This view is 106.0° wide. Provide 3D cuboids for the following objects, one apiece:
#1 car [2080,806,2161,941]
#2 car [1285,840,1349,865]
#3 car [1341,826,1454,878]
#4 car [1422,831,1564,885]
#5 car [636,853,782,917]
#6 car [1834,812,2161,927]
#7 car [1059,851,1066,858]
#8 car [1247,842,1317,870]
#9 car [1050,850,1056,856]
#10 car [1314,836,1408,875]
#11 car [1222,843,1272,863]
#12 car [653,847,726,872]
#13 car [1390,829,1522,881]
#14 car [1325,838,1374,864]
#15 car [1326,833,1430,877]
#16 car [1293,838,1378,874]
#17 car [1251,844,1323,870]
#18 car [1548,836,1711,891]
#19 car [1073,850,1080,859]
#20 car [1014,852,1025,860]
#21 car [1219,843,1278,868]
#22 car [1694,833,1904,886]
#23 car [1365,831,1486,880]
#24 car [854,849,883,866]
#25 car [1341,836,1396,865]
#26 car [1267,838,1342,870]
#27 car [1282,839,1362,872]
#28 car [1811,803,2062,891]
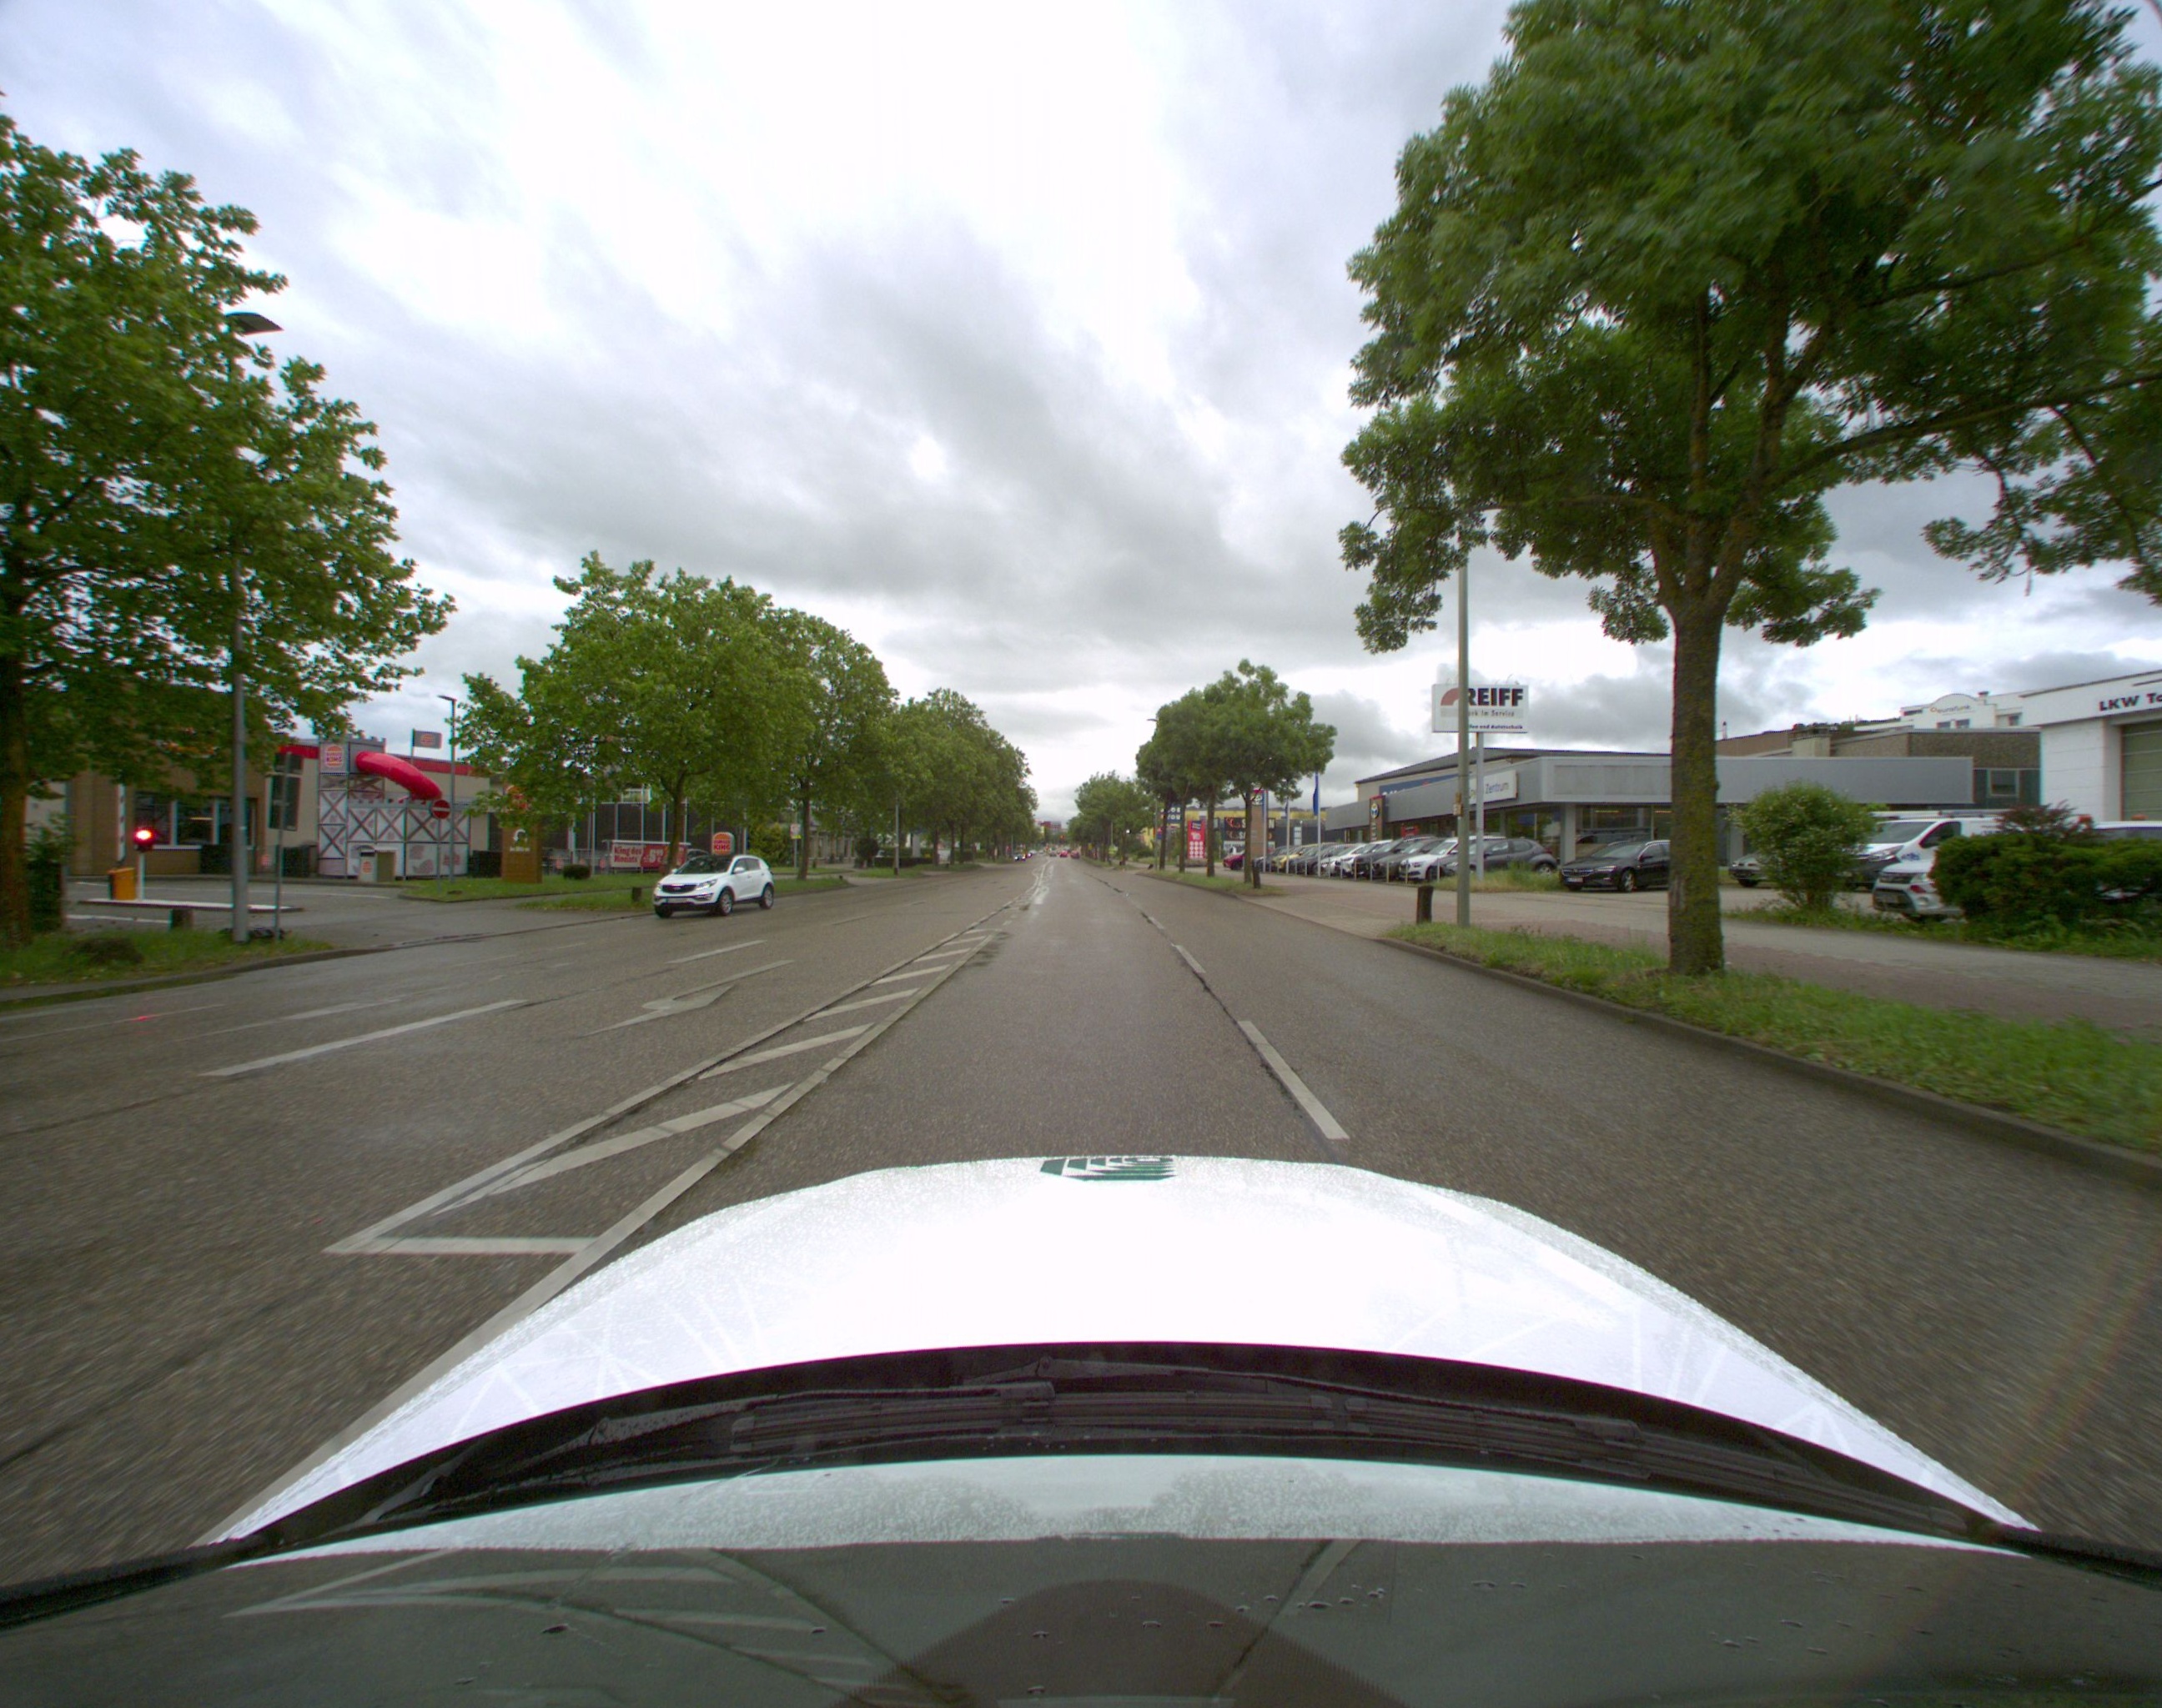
[{"bbox_3d":[15.423,0.191,9.683,4.105,1.662,1.832,-1,2,23],"label":"car"},{"bbox_3d":[16.907,-0.133,58.549,4.092,1.621,1.882,-2,0,3],"label":"car"},{"bbox_3d":[13.391,-0.085,34.637,3.973,1.786,1.812,-5,0,1],"label":"car"},{"bbox_3d":[13.858,0.133,27.550,3.822,1.461,1.827,-5,0,-2],"label":"car"},{"bbox_3d":[-10.308,0.804,22.975,1.920,1.619,4.401,-1,0,2],"label":"car"},{"bbox_3d":[14.564,0.225,12.439,4.021,1.597,1.995,-1,0,20],"label":"car"},{"bbox_3d":[-5.213,0.047,228.446,1.739,2.013,4.000,-1,0,0],"label":"car"},{"bbox_3d":[12.802,0.099,52.062,3.975,1.647,1.844,-1,0,-1],"label":"car"},{"bbox_3d":[-8.650,-0.388,251.486,1.739,1.701,4.000,-1,0,0],"label":"car"},{"bbox_3d":[13.709,0.080,40.006,3.973,1.786,1.812,-1,0,1],"label":"car"},{"bbox_3d":[17.778,-0.108,87.290,4.823,2.014,1.983,-1,-1,-11],"label":"car"},{"bbox_3d":[-20.228,0.254,42.134,3.158,1.155,1.293,2,0,7],"label":"car"},{"bbox_3d":[13.800,0.034,30.126,3.973,1.543,1.812,-5,0,1],"label":"car"},{"bbox_3d":[17.977,-0.174,54.683,1.868,1.621,4.122,-2,0,0],"label":"car"},{"bbox_3d":[13.579,0.017,37.355,3.977,1.587,1.811,-5,1,-3],"label":"car"},{"bbox_3d":[13.515,0.089,43.438,3.973,1.786,1.812,-1,0,1],"label":"car"},{"bbox_3d":[12.694,0.171,50.386,3.975,1.538,1.799,-1,0,-1],"label":"car"},{"bbox_3d":[16.060,0.268,23.942,3.674,1.464,1.790,-1,0,-6],"label":"car"},{"bbox_3d":[-1.039,0.043,188.633,1.739,2.013,4.000,-1,0,0],"label":"car"},{"bbox_3d":[-10.832,0.338,143.566,1.798,1.463,3.844,-2,0,-1],"label":"car"},{"bbox_3d":[12.038,0.102,58.650,3.830,1.603,1.795,-3,0,-1],"label":"car"},{"bbox_3d":[21.852,0.155,24.940,4.636,1.498,2.001,-1,0,1],"label":"car"},{"bbox_3d":[13.616,0.063,32.362,3.973,1.584,1.812,-5,0,1],"label":"car"},{"bbox_3d":[-20.037,0.321,76.955,1.819,1.486,3.936,-1,0,-2],"label":"car"},{"bbox_3d":[17.653,-0.198,50.214,1.868,1.621,4.122,-2,0,0],"label":"car"},{"bbox_3d":[13.182,0.017,48.119,3.831,1.566,1.665,-4,0,-4],"label":"car"},{"bbox_3d":[13.523,0.093,45.849,3.973,1.547,1.711,-4,0,1],"label":"car"},{"bbox_3d":[22.416,-0.174,21.476,4.640,2.149,1.964,-1,0,-2],"label":"car"}]
